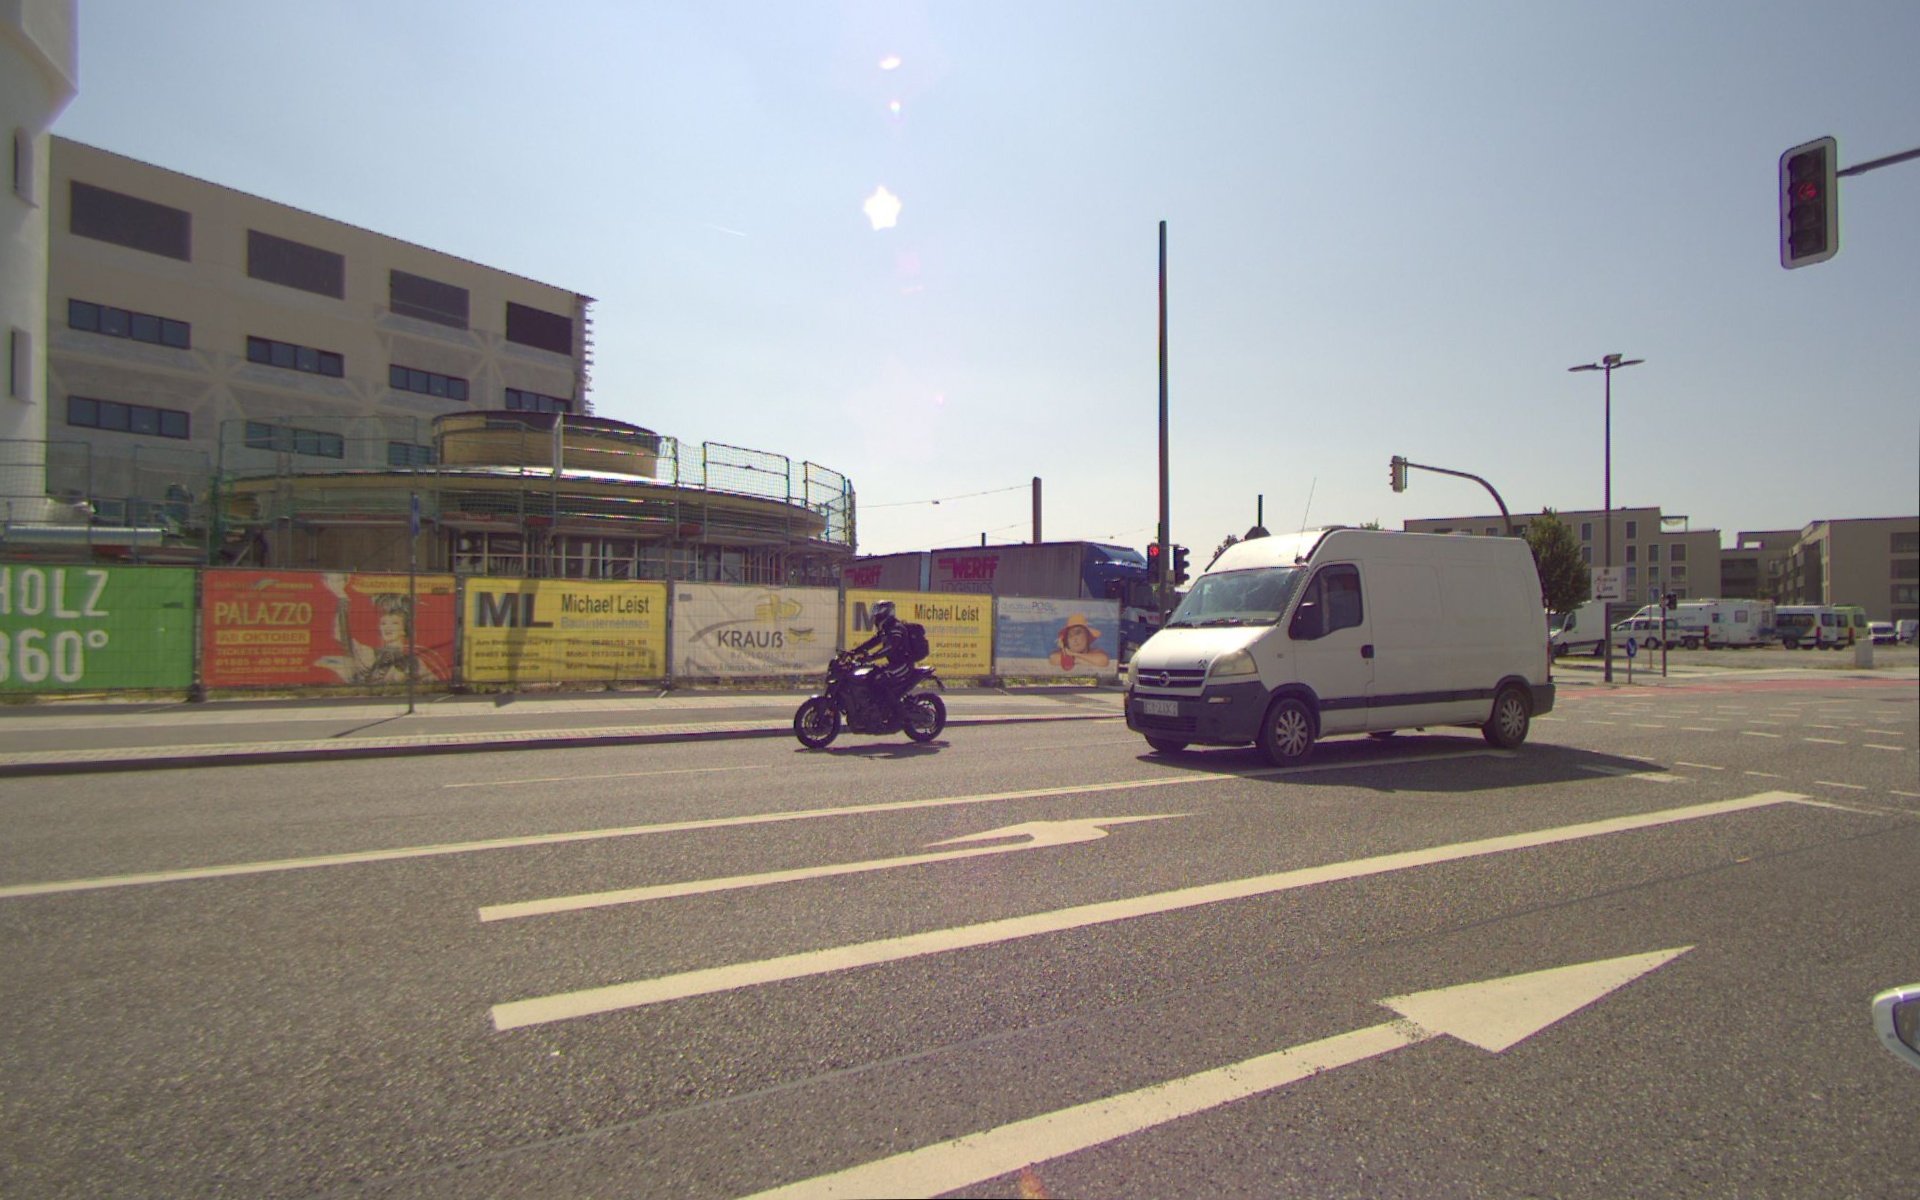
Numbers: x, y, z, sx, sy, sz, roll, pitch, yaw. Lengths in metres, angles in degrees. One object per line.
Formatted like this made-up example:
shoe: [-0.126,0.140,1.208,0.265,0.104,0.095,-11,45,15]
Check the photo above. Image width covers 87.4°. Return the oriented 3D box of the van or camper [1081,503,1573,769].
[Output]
van or camper: [4.304,0.432,11.551,5.612,2.445,2.144,1,-3,-29]

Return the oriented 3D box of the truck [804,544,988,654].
truck: [-3.220,-0.070,45.172,3.309,4.332,10.849,2,0,-33]

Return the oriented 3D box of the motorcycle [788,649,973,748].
motorcycle: [-0.934,1.165,12.148,2.187,1.118,0.582,2,-3,-28]

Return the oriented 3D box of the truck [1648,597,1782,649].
truck: [46.091,1.349,61.568,2.532,2.940,6.136,2,0,-20]

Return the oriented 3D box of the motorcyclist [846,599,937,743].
motorcyclist: [-0.833,0.848,12.188,0.916,1.681,0.616,2,-2,-29]

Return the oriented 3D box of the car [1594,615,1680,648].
car: [39.026,1.808,58.020,1.634,1.782,3.854,0,0,-25]

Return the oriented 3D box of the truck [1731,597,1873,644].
truck: [53.752,1.241,64.330,2.563,2.863,6.628,0,0,-19]

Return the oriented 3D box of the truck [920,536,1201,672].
truck: [3.120,0.076,35.781,3.273,4.121,10.859,2,0,-38]

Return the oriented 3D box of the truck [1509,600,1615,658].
truck: [29.331,1.405,48.857,5.883,2.690,2.153,1,-2,-34]

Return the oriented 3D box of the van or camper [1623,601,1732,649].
van or camper: [42.395,1.436,59.505,2.226,2.697,4.891,0,0,-21]

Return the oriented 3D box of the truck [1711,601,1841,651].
truck: [50.820,1.543,62.748,2.532,2.862,5.827,2,0,-20]

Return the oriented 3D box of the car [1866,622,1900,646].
car: [95.680,3.501,104.160,1.966,2.270,3.989,0,0,33]
